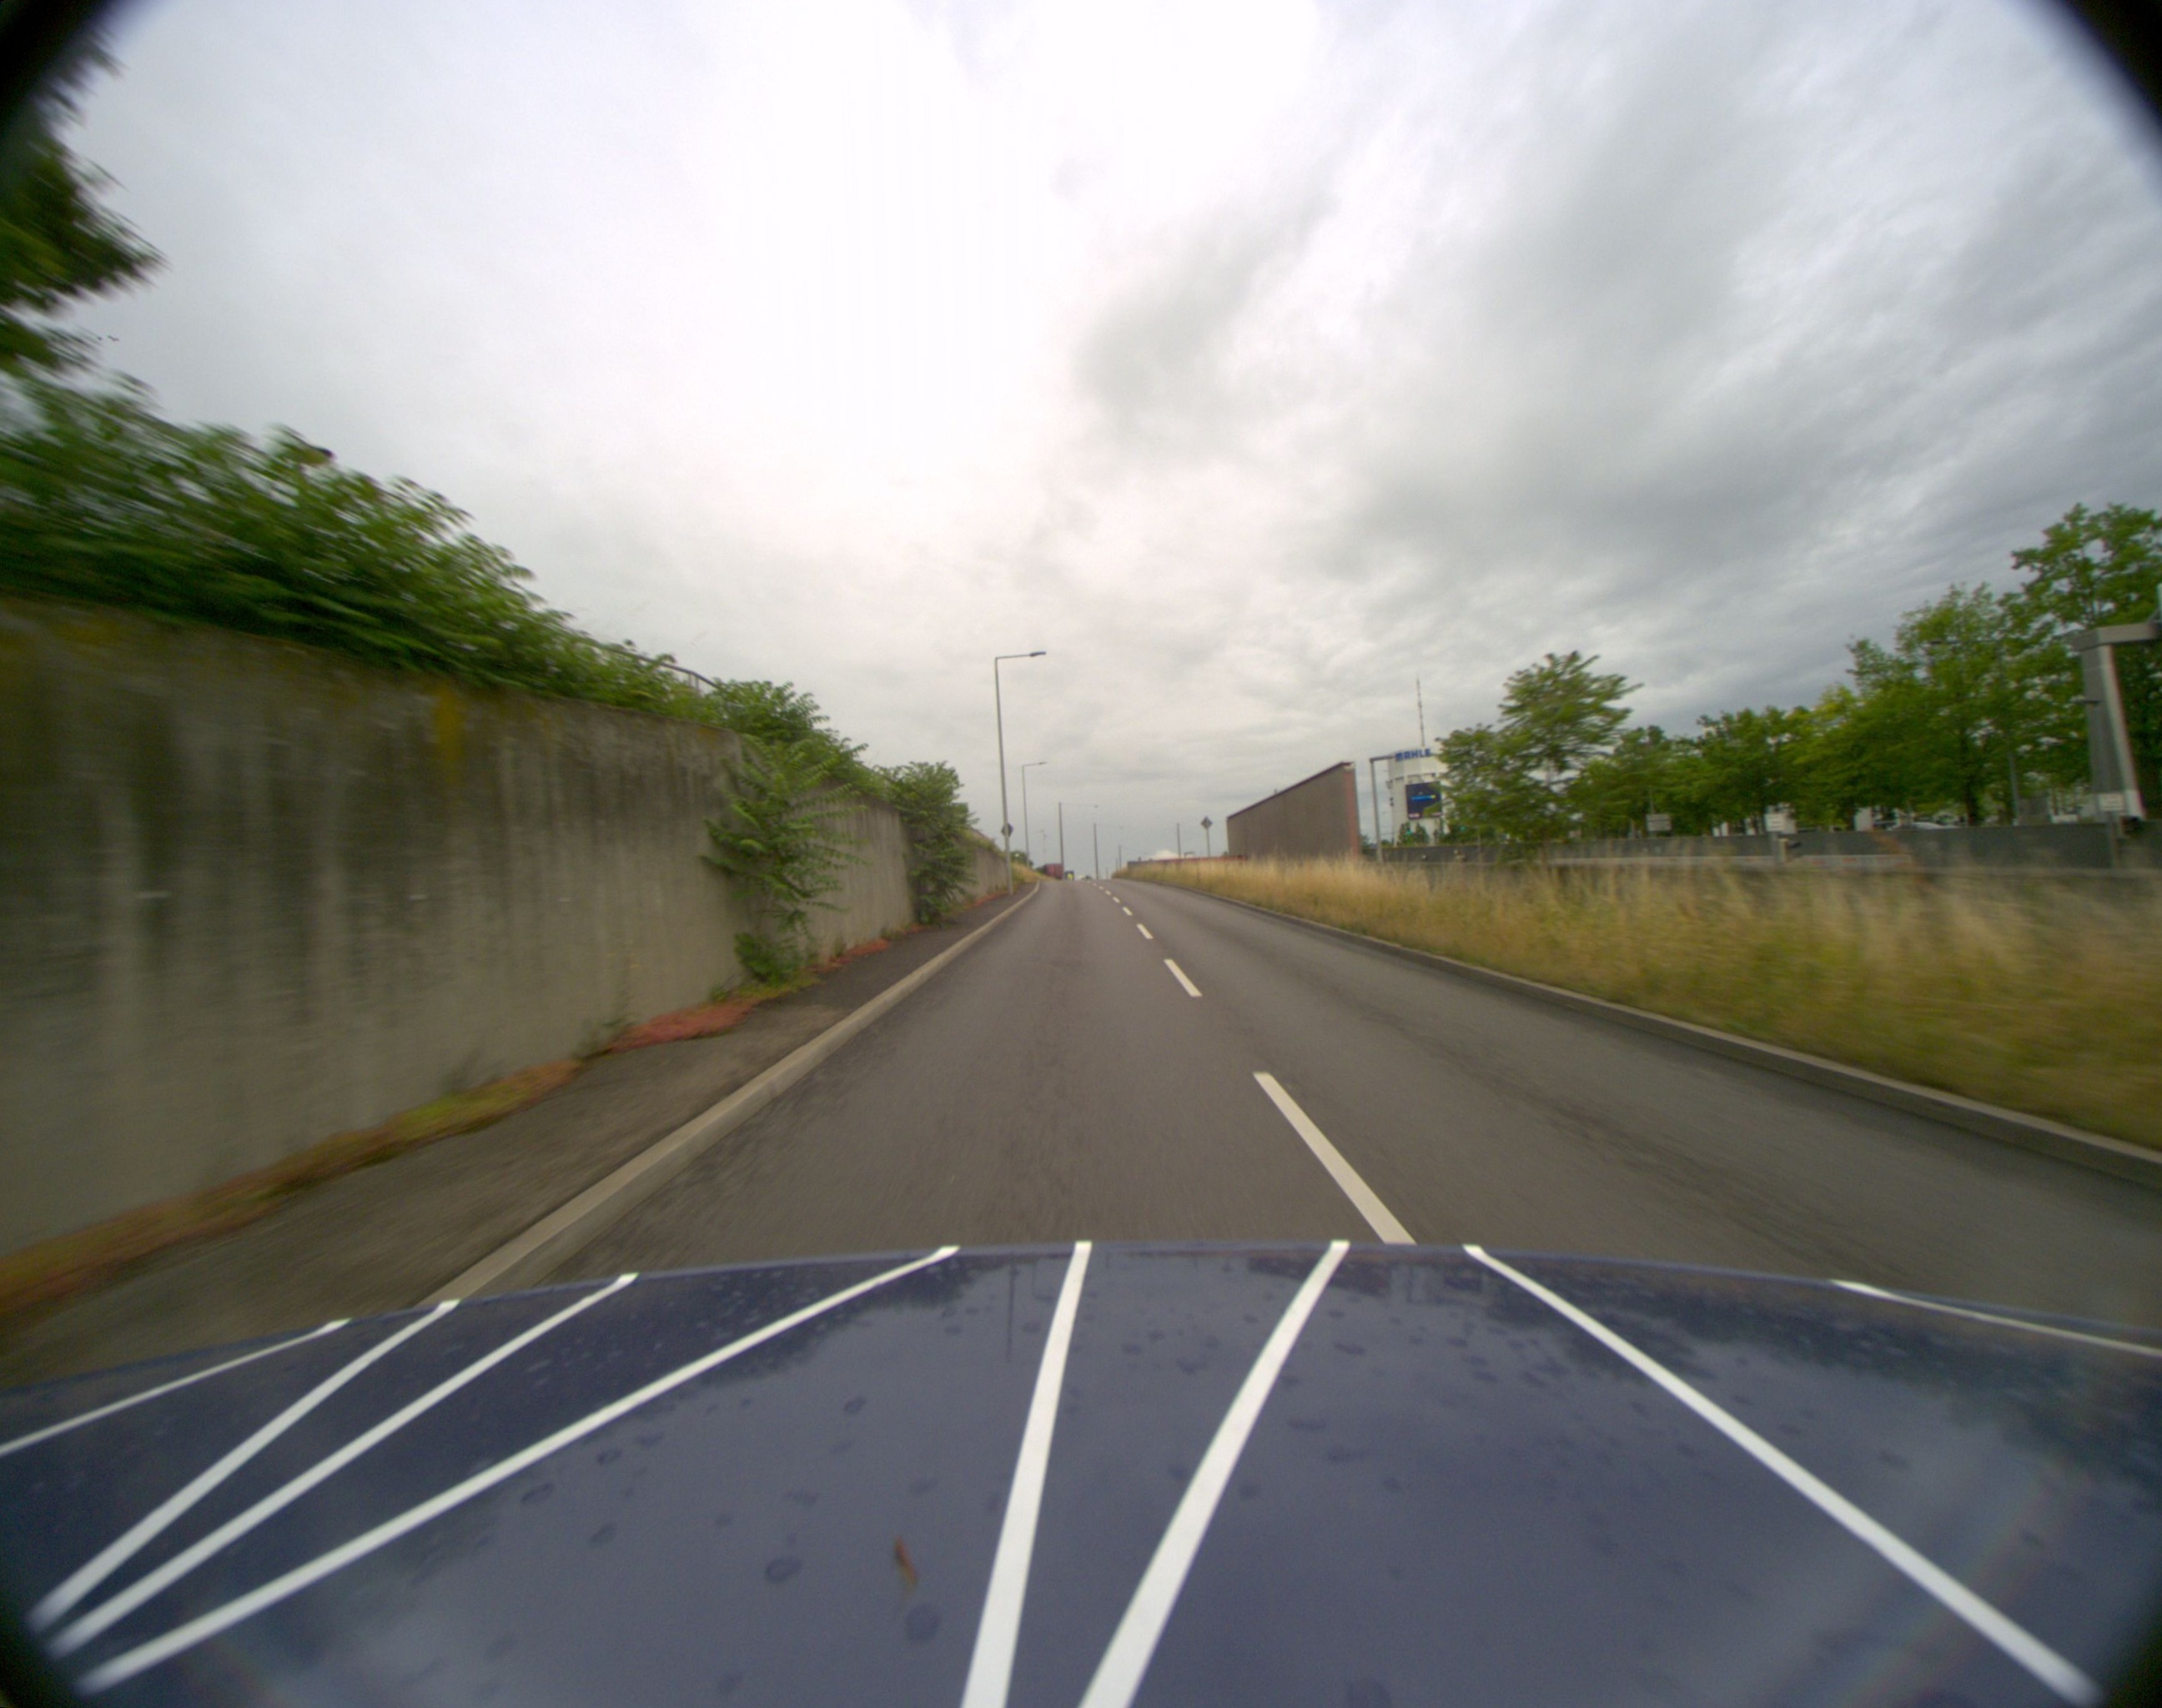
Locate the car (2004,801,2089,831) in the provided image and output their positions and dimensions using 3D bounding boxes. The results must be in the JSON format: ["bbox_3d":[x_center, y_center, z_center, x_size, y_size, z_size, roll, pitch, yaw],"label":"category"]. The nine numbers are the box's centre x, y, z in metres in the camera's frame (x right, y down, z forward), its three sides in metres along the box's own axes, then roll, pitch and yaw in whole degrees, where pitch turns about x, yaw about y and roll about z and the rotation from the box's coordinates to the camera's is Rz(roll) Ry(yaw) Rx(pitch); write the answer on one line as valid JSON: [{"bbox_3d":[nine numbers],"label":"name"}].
[{"bbox_3d":[81.686,-3.172,64.365,3.992,1.836,2.004,-9,-5,41],"label":"car"}]

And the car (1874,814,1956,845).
[{"bbox_3d":[68.727,-2.002,62.682,1.999,2.000,4.002,-5,-4,-4],"label":"car"}]

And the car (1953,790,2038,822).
[{"bbox_3d":[77.735,-4.052,64.685,1.999,2.000,4.002,-5,-4,-4],"label":"car"}]
